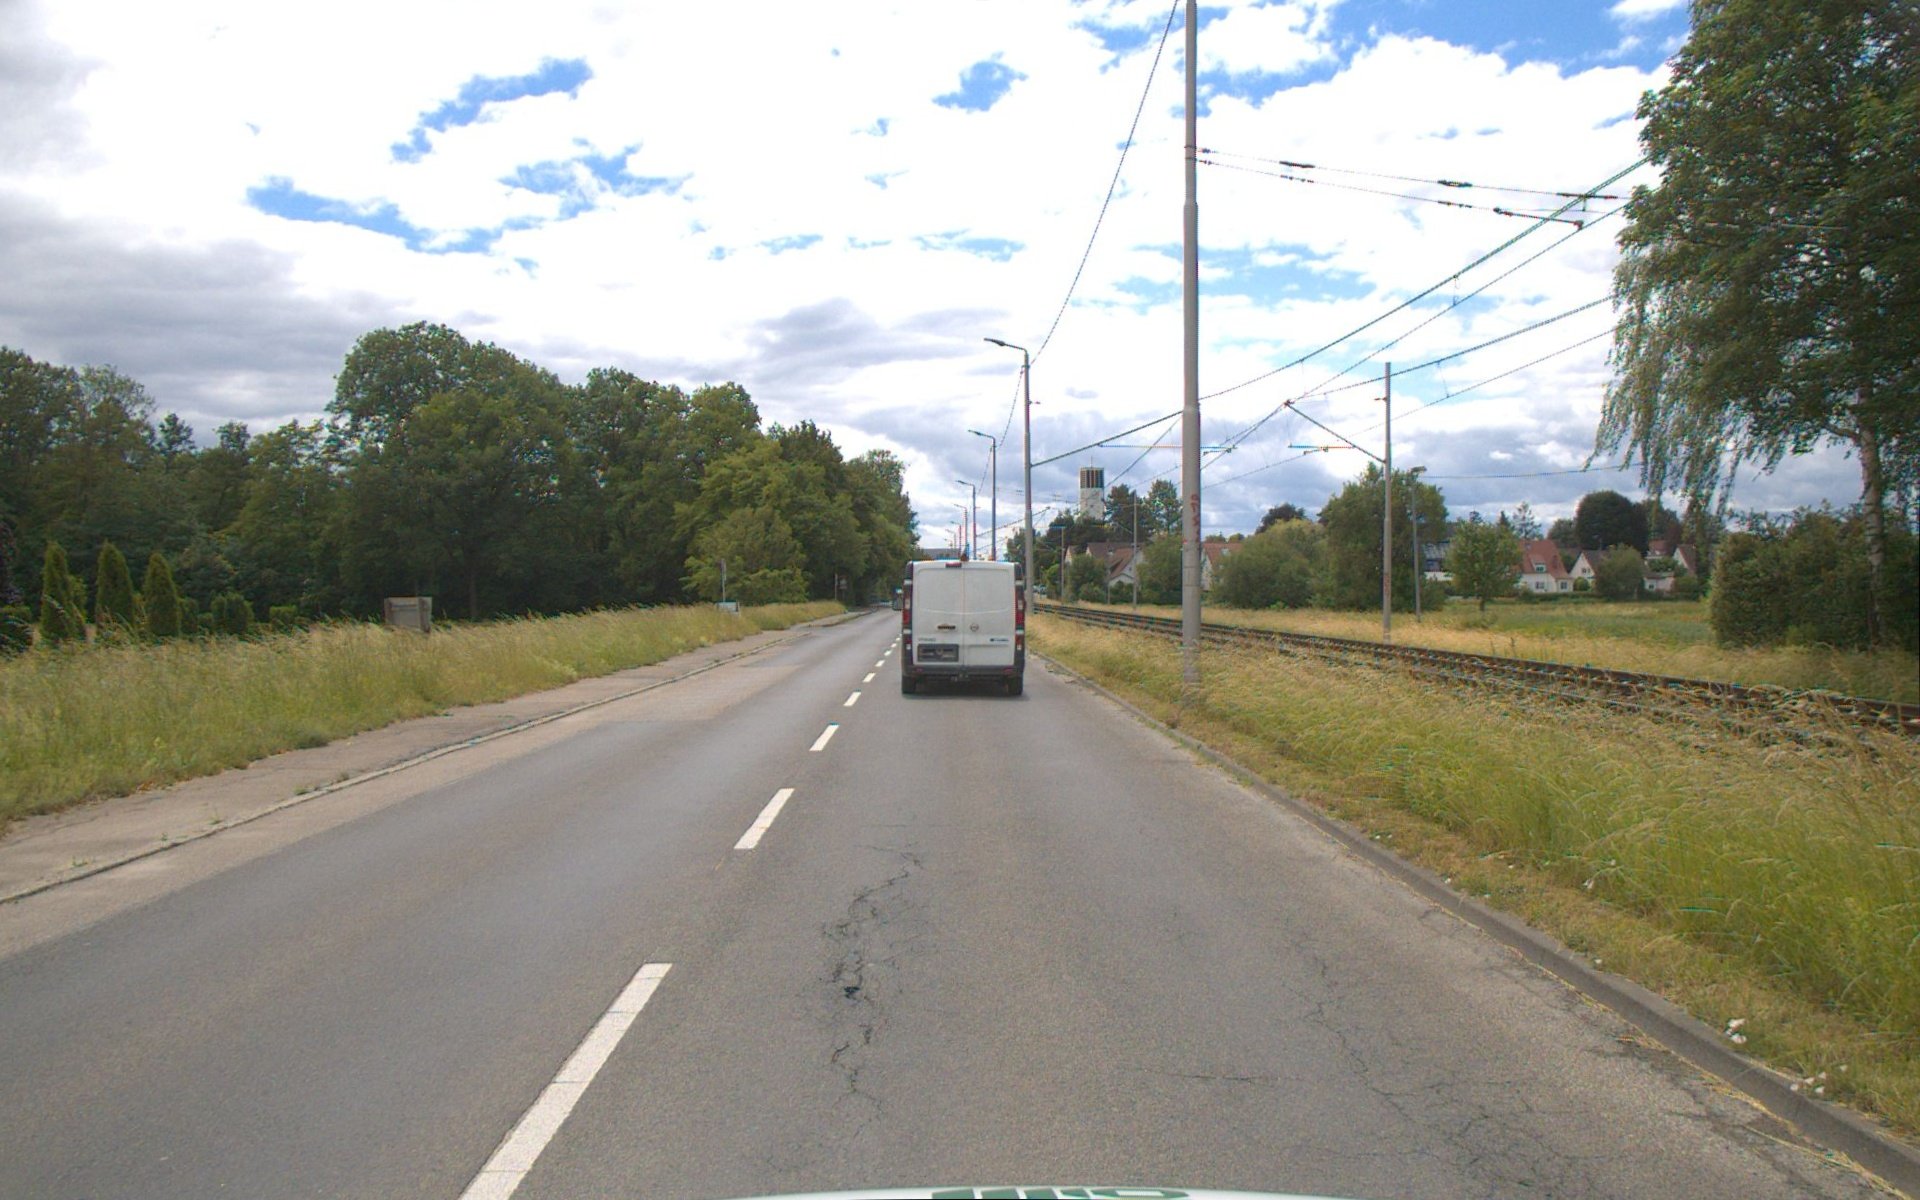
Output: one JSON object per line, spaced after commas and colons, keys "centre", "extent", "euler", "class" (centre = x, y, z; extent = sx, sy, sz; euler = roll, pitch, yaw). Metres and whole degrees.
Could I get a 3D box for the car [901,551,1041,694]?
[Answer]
{"centre": [0.091, 0.322, 25.468], "extent": [1.953, 1.991, 3.998], "euler": [1, 0, -2], "class": "car"}
